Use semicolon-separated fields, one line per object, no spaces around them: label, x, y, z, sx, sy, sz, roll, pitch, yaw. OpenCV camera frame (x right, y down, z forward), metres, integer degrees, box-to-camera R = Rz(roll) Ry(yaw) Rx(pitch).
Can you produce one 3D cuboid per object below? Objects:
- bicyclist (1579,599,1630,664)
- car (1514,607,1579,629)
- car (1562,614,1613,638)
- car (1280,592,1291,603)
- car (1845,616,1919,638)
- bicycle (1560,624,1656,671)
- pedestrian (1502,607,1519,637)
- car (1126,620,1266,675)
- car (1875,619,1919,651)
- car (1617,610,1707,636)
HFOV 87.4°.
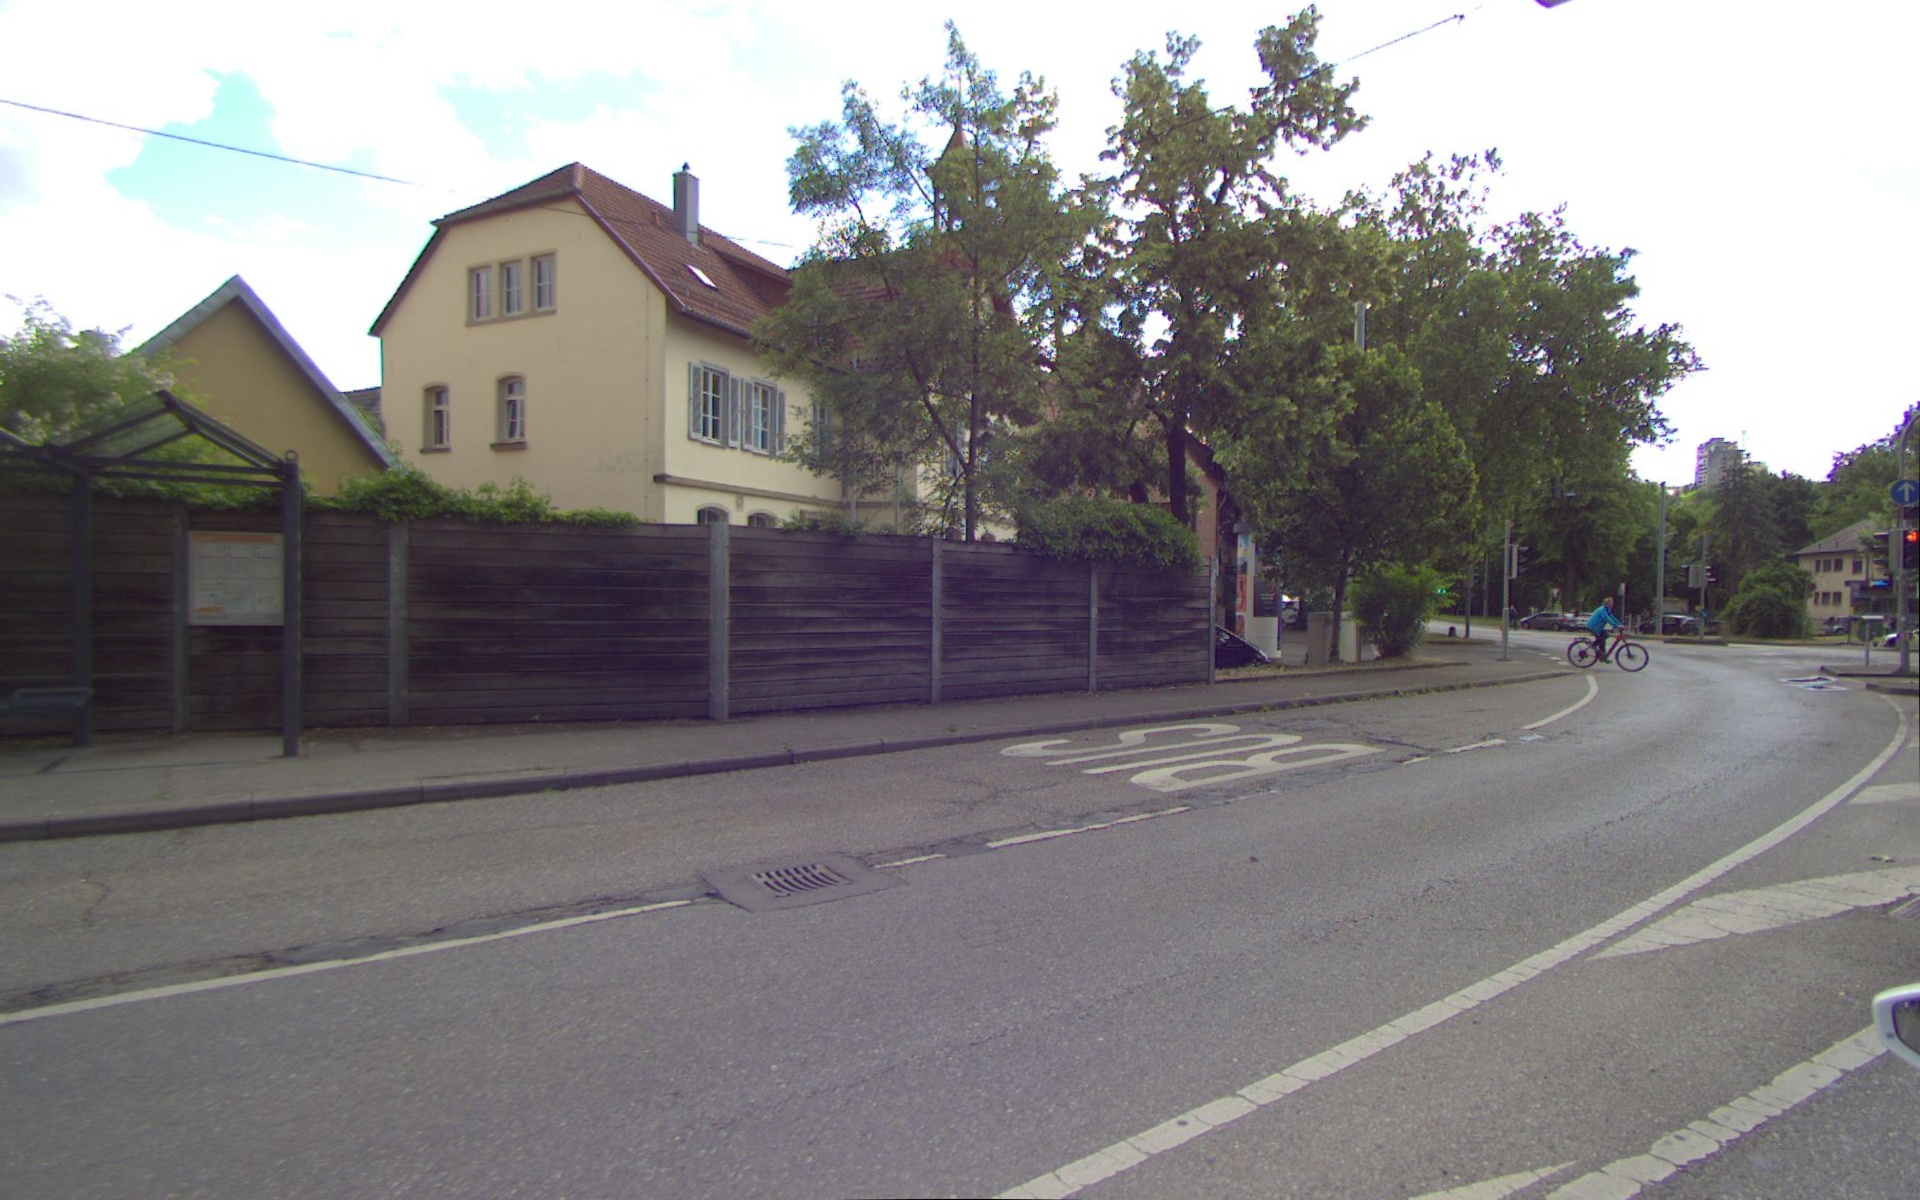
bicyclist;16.699;0.798;26.031;1.084;1.621;0.938;1;0;34
car;44.822;1.383;76.889;1.969;1.595;3.983;1;-1;-19
car;48.281;1.951;77.236;3.960;1.795;1.981;1;-1;-35
car;61.644;-0.502;190.082;1.960;1.907;4.001;0;-1;18
car;65.325;1.876;70.874;3.924;1.506;1.759;0;-1;24
bicycle;16.756;1.214;26.003;2.042;1.096;0.938;1;0;34
pedestrian;40.560;1.638;74.006;0.762;2.207;0.859;0;0;-9
car;6.386;1.267;27.445;3.616;1.392;1.738;0;-1;11
car;47.230;1.687;48.221;1.965;1.537;4.582;1;-1;-12
car;44.136;1.423;63.274;1.965;1.537;4.582;1;-1;-12
